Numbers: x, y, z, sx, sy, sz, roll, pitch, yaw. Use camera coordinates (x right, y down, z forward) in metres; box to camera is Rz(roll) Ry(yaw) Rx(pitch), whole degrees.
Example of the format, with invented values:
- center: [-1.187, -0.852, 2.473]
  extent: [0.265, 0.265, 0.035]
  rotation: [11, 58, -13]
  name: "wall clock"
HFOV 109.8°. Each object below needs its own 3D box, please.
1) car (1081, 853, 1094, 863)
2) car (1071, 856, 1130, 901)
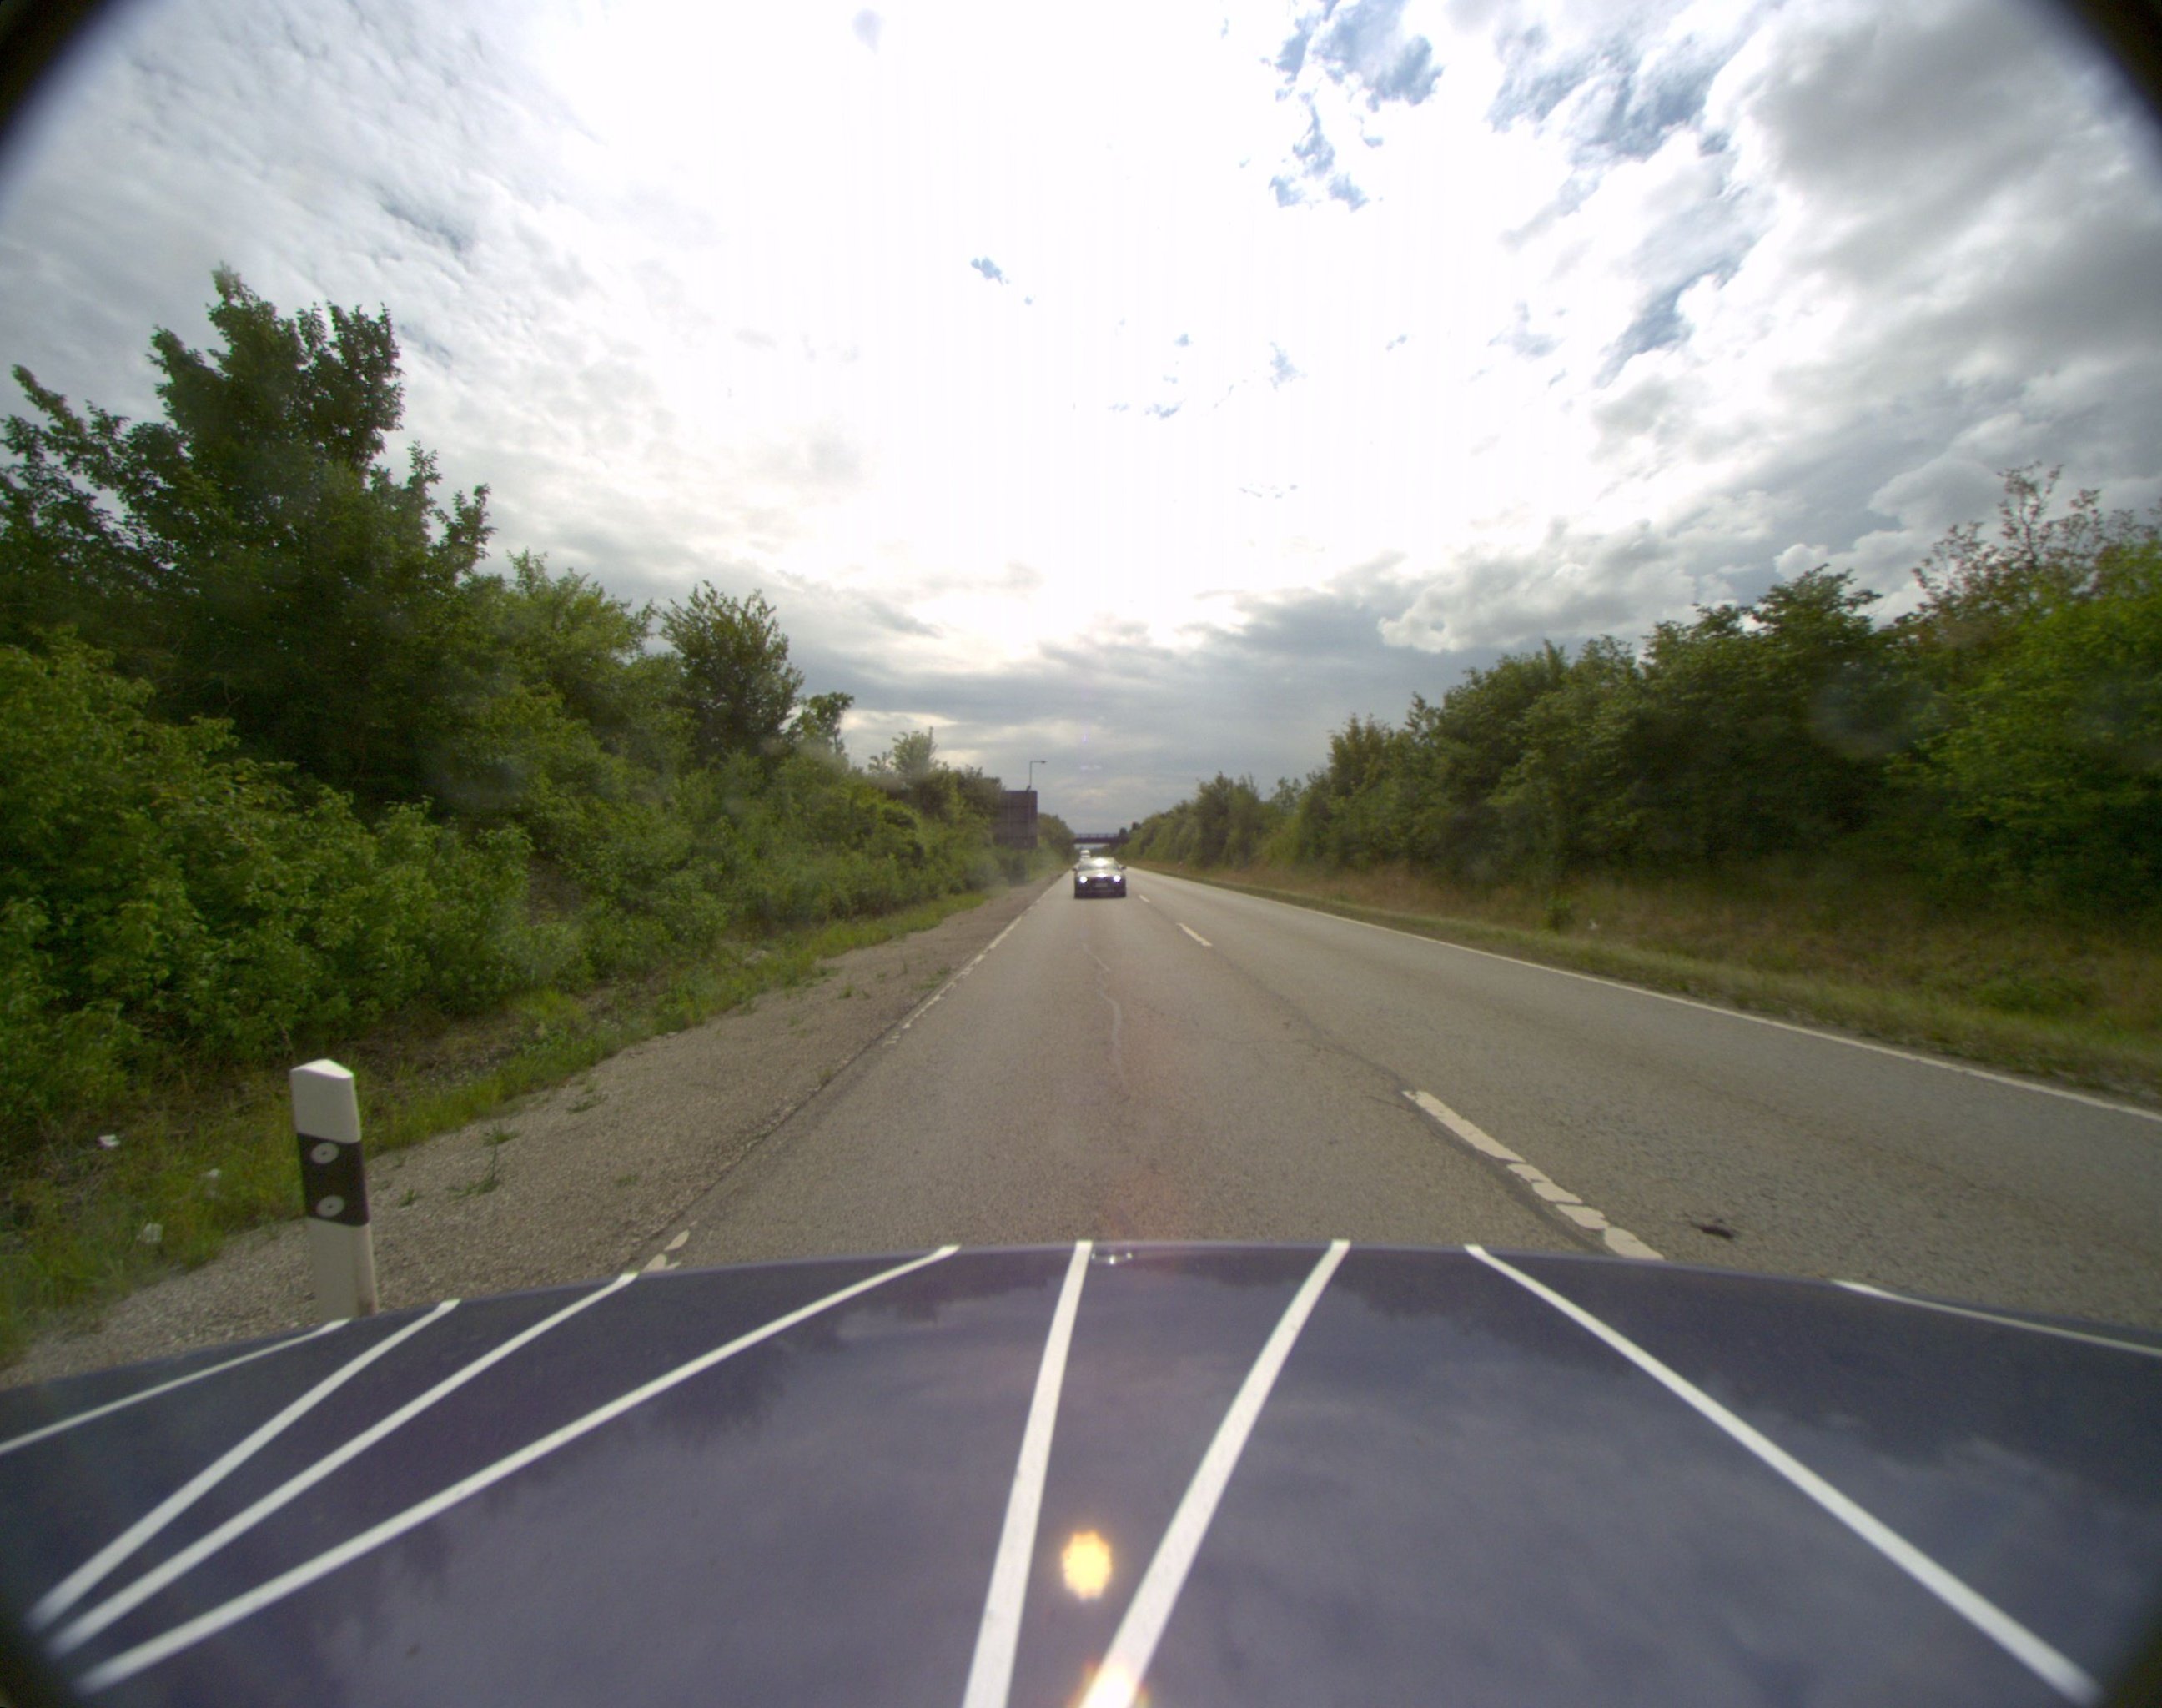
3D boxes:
- center: [1.030, 0.591, 121.862]
  extent: [1.870, 1.597, 4.000]
  rotation: [-1, 0, 0]
  name: "car"
- center: [0.678, 0.857, 28.673]
  extent: [1.998, 1.436, 4.640]
  rotation: [-2, 0, 0]
  name: "car"
